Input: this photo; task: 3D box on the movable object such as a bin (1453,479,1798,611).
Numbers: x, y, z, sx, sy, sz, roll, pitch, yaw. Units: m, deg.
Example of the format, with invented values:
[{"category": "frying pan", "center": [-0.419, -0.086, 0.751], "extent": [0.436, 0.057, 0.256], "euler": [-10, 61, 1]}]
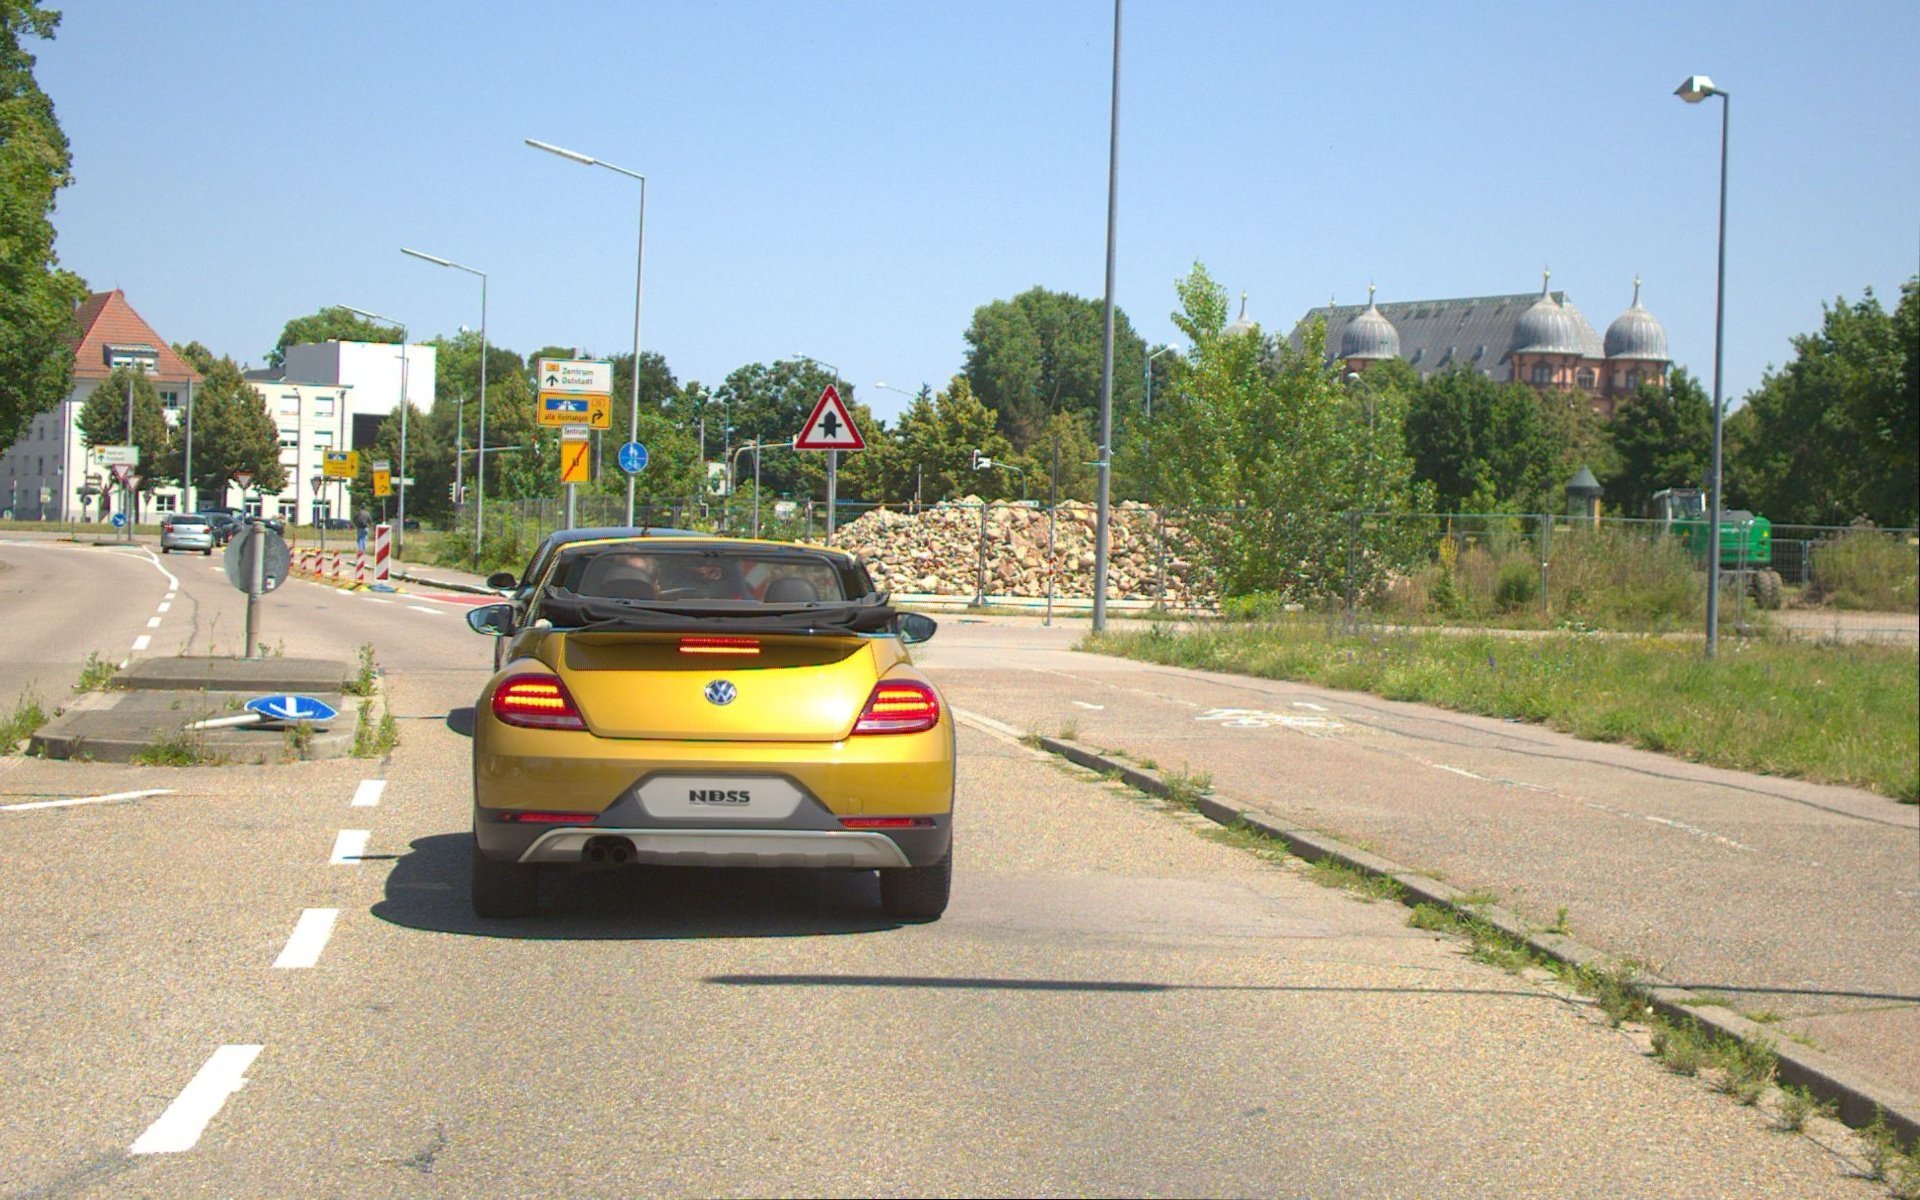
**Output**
[{"category": "movable object such as a bin", "center": [17.725, -1.521, 92.762], "extent": [4.937, 3.249, 10.472], "euler": [1, 1, -15]}]

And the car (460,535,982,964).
[{"category": "car", "center": [-1.056, 0.496, 13.926], "extent": [1.789, 1.431, 3.815], "euler": [1, 1, -7]}]

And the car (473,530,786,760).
[{"category": "car", "center": [-2.402, 0.257, 24.122], "extent": [1.726, 1.438, 4.001], "euler": [1, 1, -12]}]
